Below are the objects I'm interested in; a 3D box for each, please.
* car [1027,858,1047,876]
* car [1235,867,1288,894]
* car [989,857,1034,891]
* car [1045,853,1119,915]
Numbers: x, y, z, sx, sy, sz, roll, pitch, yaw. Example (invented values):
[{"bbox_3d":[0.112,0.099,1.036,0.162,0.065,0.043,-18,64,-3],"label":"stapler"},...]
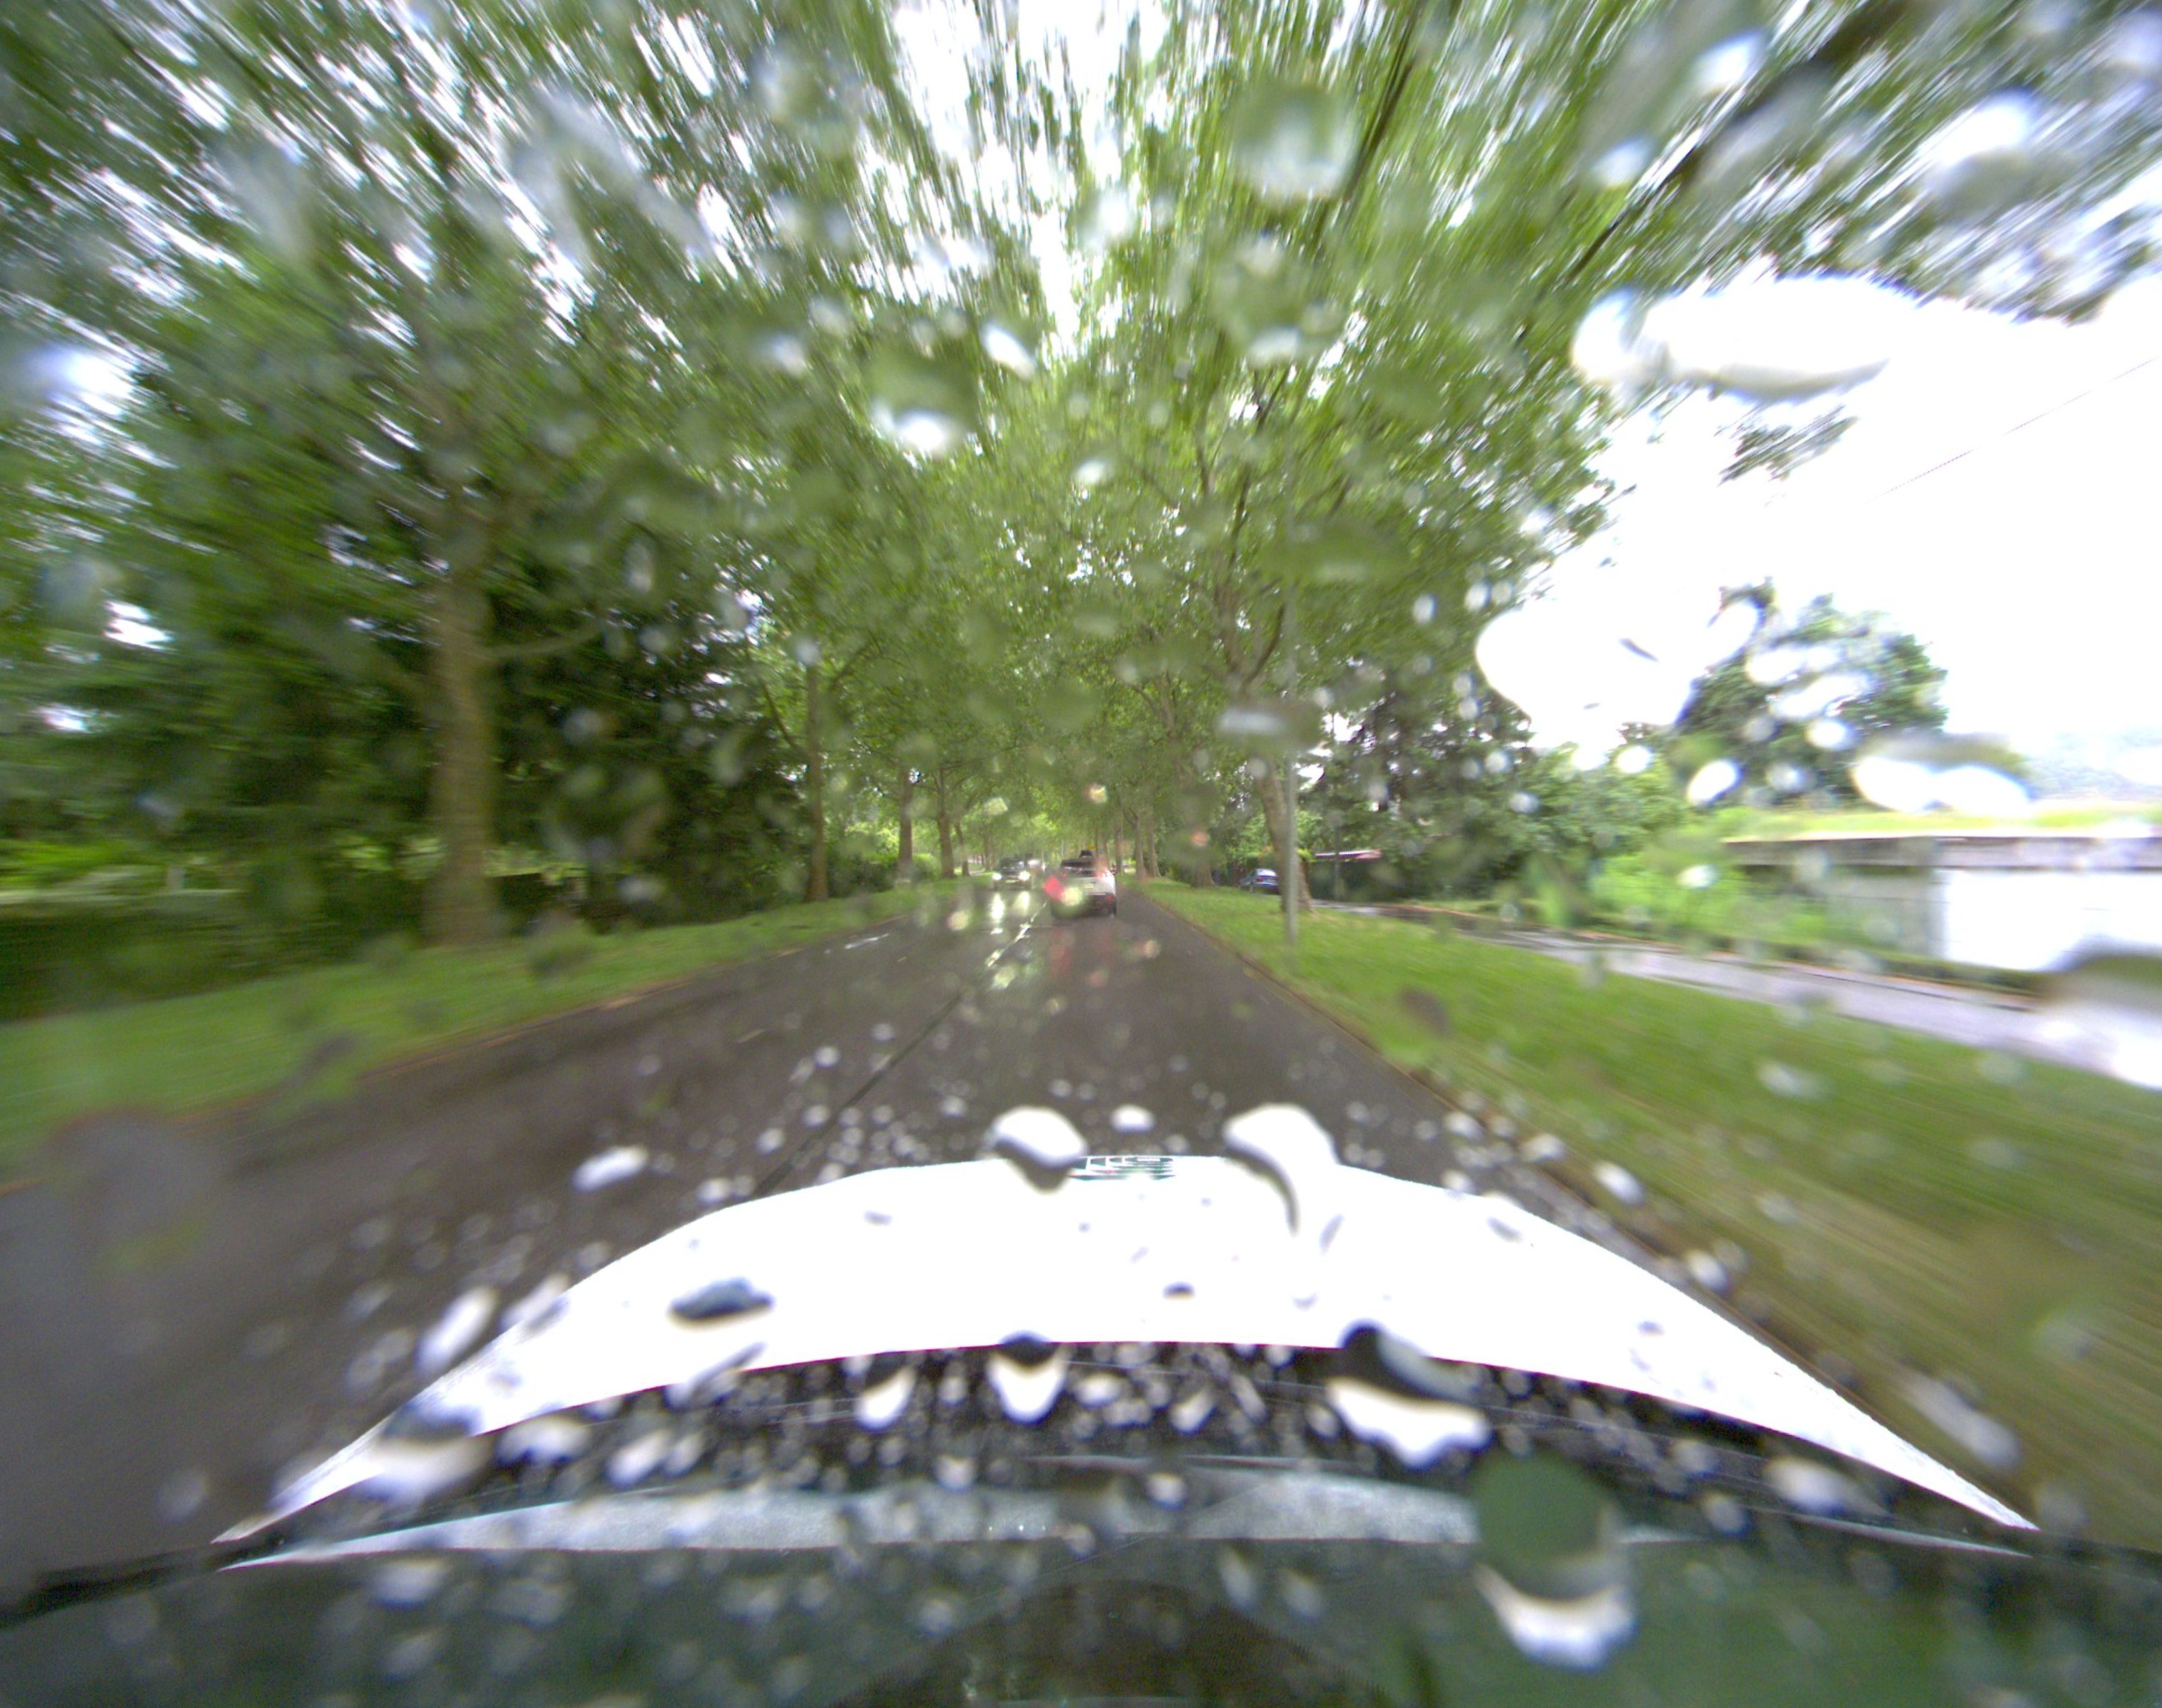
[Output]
[{"bbox_3d":[-4.437,1.278,81.998,1.803,1.728,4.453,0,-1,-1],"label":"car"},{"bbox_3d":[10.040,1.426,45.552,1.792,1.325,3.993,4,-1,-4],"label":"car"},{"bbox_3d":[-3.577,0.996,42.590,1.811,1.654,4.775,0,-1,2],"label":"car"},{"bbox_3d":[-0.056,0.799,23.005,1.791,1.578,3.838,0,-1,-4],"label":"car"}]
